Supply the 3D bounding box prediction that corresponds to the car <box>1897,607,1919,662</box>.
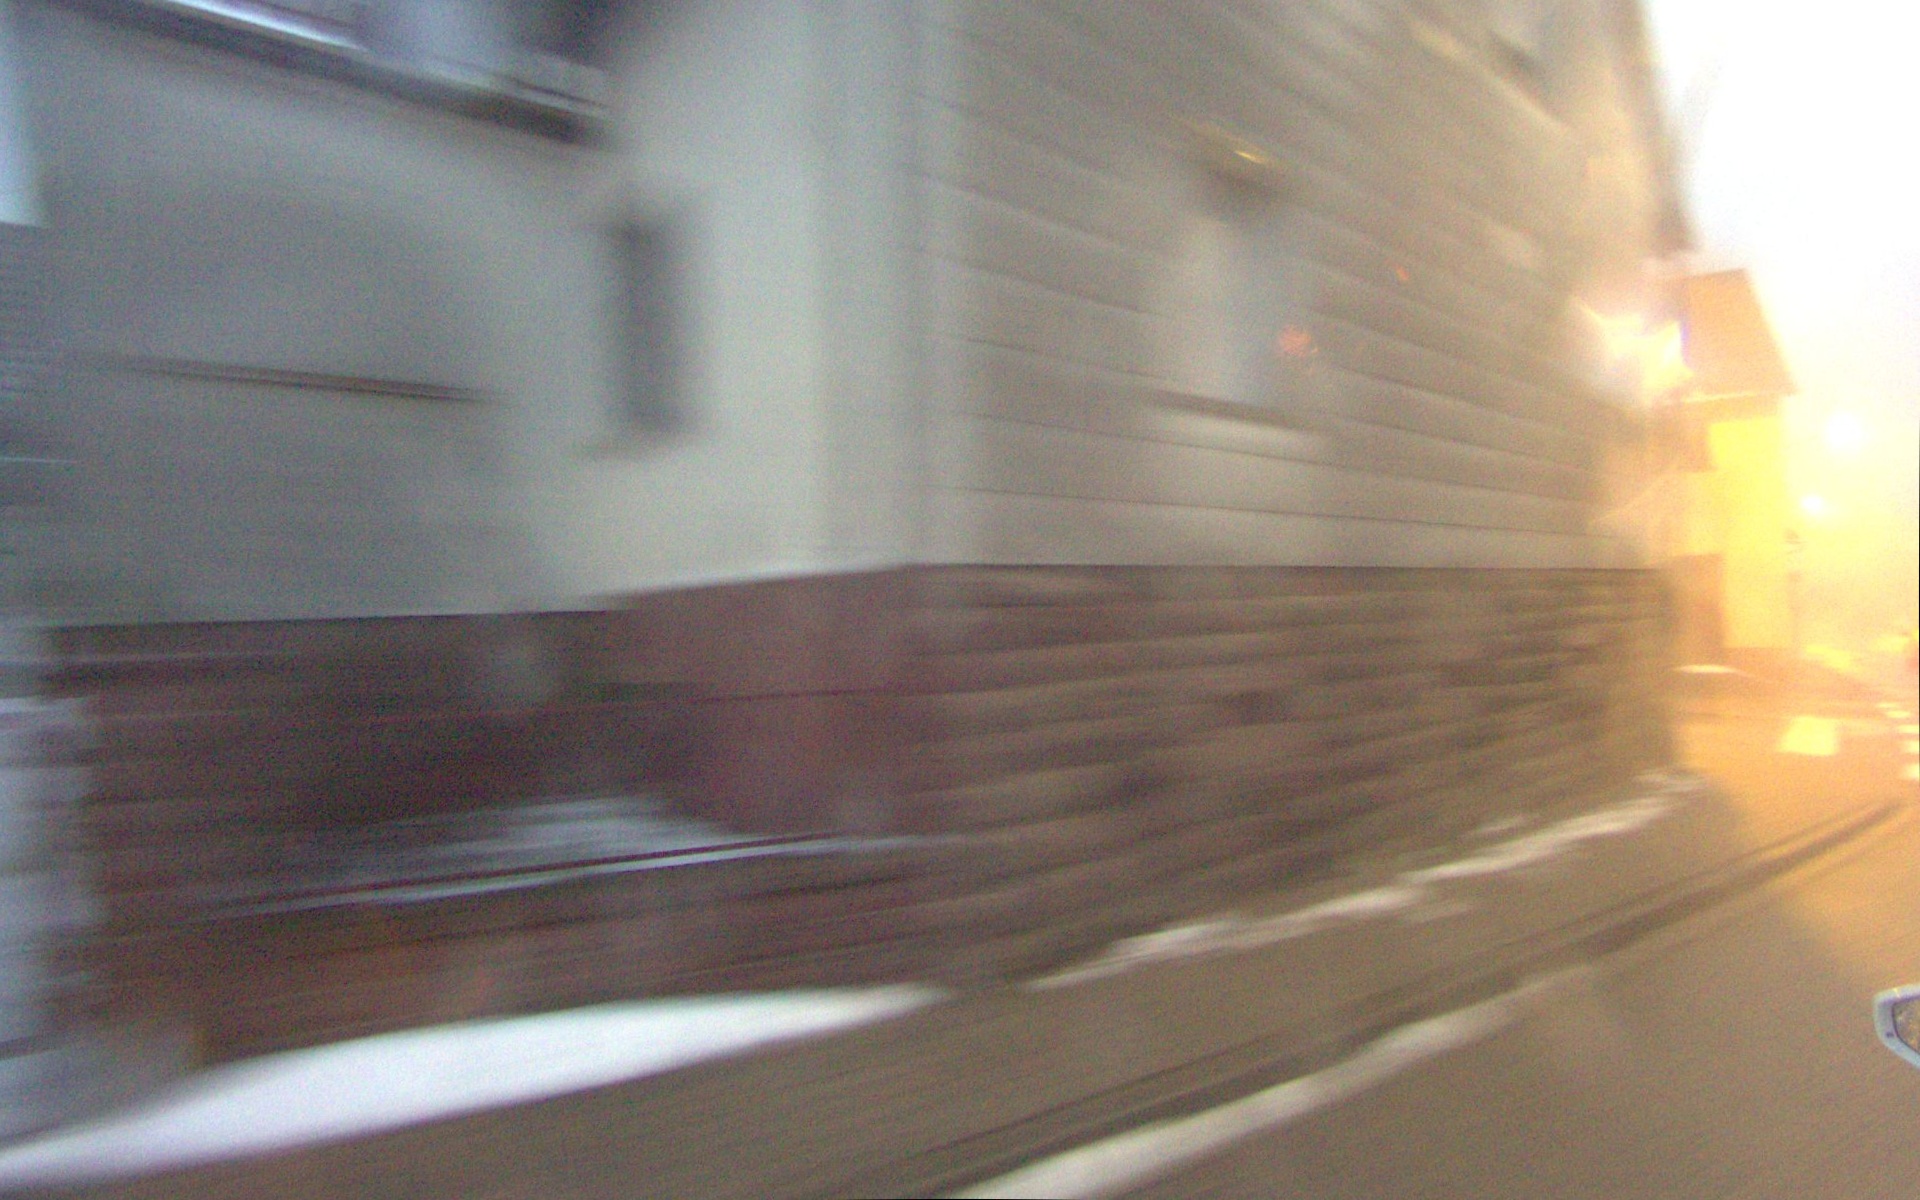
[{"bbox_3d":[32.487,1.181,33.337,1.972,1.751,3.978,1,-1,43],"label":"car"}]
